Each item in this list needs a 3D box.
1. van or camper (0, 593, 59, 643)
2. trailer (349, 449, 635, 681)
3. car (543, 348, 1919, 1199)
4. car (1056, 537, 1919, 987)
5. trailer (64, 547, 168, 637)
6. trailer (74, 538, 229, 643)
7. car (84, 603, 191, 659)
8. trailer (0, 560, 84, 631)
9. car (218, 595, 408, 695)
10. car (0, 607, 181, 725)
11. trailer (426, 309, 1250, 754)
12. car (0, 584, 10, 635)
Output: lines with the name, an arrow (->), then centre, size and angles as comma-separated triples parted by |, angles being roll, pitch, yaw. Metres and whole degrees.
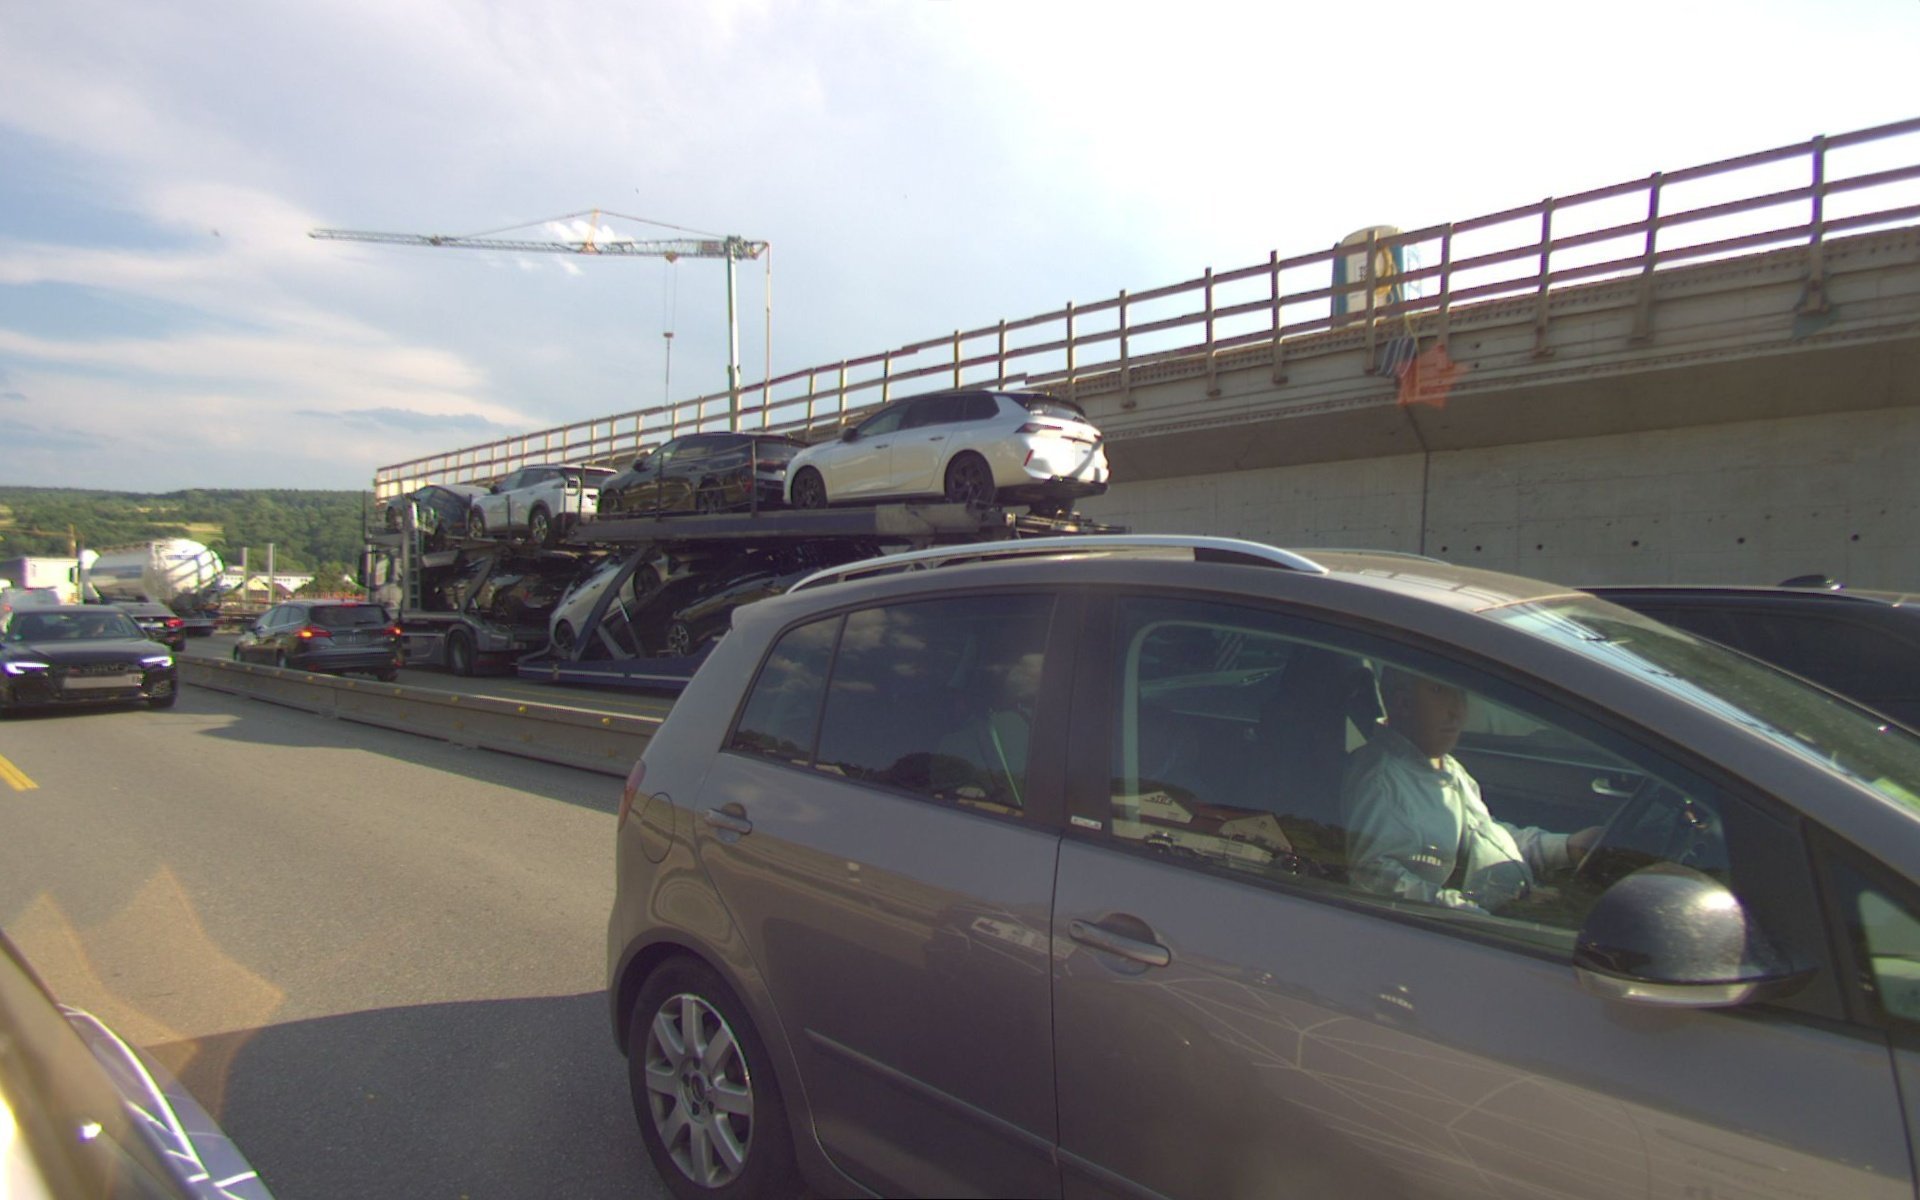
van or camper -> -40.723, 0.728, 43.773 | 5.291, 2.029, 1.839 | 0, 0, 40
trailer -> -9.970, -0.625, 21.158 | 7.205, 4.061, 2.742 | 0, 0, 41
car -> 1.058, 0.567, 1.897 | 4.269, 1.600, 1.663 | 0, 0, 41
car -> 2.919, 0.555, 5.143 | 4.838, 1.563, 1.746 | 0, 1, 44
trailer -> -39.008, -0.351, 46.703 | 6.425, 3.879, 2.625 | 0, 0, 41
trailer -> -34.279, -0.356, 42.592 | 13.435, 3.879, 2.625 | 0, 0, 41
car -> -23.908, 0.843, 29.363 | 4.598, 1.456, 1.691 | 0, 0, 42
trailer -> -58.506, -0.266, 64.171 | 13.772, 4.067, 2.894 | 0, 0, 42
car -> -11.686, 0.711, 18.164 | 4.337, 1.589, 1.738 | 0, 0, 41
car -> -12.753, 0.816, 14.383 | 4.346, 1.430, 1.849 | 0, 0, 41
trailer -> -3.566, -0.632, 15.503 | 15.757, 4.061, 2.742 | 0, 0, 41
car -> -53.002, 0.527, 54.347 | 7.403, 2.642, 1.974 | 0, 0, 39
